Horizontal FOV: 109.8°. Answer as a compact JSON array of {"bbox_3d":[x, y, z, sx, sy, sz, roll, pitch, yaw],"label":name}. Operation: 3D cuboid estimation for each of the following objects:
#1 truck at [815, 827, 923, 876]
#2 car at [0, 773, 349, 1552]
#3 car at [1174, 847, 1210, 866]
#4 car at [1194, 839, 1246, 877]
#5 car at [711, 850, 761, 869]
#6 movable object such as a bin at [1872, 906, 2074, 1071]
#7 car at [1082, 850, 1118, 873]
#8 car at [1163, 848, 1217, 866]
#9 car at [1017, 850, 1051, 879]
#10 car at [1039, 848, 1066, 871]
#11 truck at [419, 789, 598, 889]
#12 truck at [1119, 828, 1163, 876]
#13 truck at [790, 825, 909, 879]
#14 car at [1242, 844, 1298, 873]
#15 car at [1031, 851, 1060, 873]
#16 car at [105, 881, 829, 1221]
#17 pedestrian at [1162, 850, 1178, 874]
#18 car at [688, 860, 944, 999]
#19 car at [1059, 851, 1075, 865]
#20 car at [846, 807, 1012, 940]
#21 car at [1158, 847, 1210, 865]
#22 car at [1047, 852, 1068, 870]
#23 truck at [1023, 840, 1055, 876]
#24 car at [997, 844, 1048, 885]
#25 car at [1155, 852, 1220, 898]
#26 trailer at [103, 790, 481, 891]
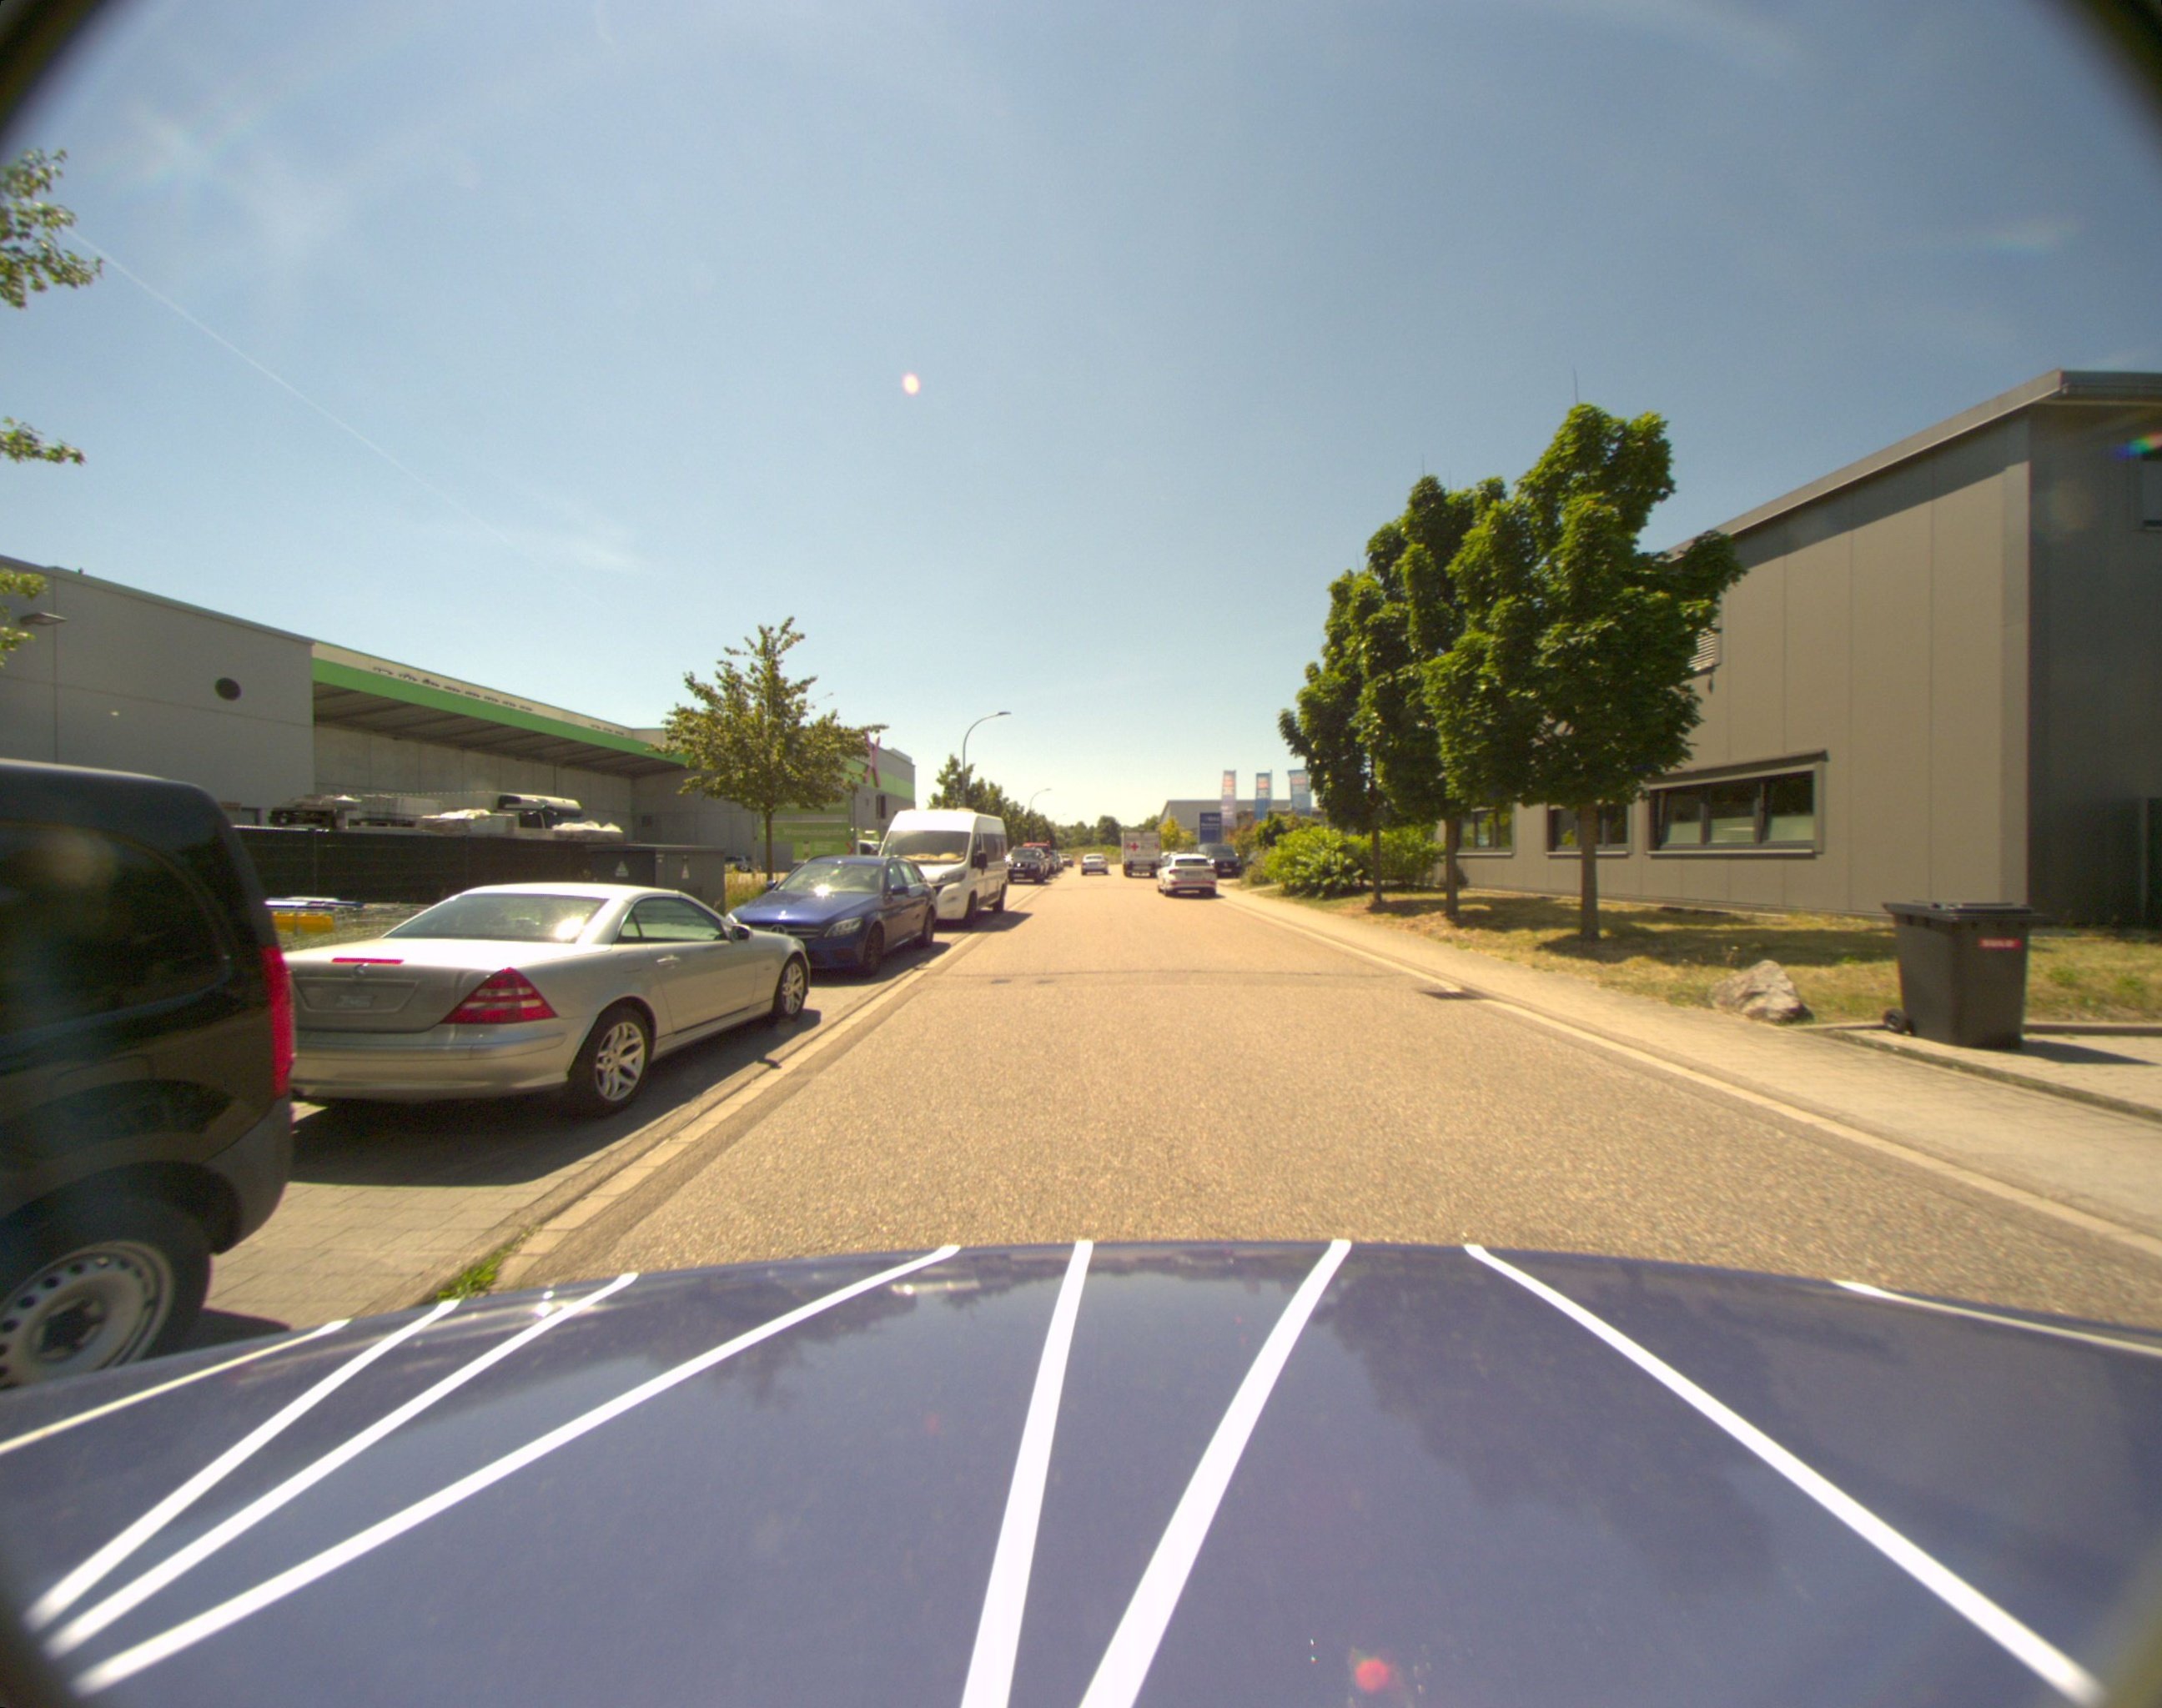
[{"bbox_3d":[-12.789,-0.161,46.183,5.918,2.855,2.305,0,1,-2],"label":"truck"},{"bbox_3d":[-3.530,0.736,0.412,1.998,1.815,4.353,0,1,0],"label":"car"},{"bbox_3d":[8.992,0.200,61.766,2.748,1.509,1.535,-1,1,0],"label":"car"},{"bbox_3d":[7.732,0.183,42.662,1.998,1.945,5.217,-1,1,1],"label":"car"},{"bbox_3d":[-28.591,0.426,63.002,3.395,1.524,1.550,0,1,3],"label":"car"},{"bbox_3d":[6.548,0.952,5.619,0.580,1.059,0.765,-2,1,1],"label":"movable object such as a bin"},{"bbox_3d":[1.374,0.487,52.517,1.786,1.414,4.417,1,1,11],"label":"car"},{"bbox_3d":[9.090,0.241,63.797,4.319,1.423,1.847,-1,1,2],"label":"car"},{"bbox_3d":[-2.719,0.588,44.718,1.743,1.522,3.999,2,1,-1],"label":"car"},{"bbox_3d":[-2.237,0.410,60.403,1.815,1.715,4.774,1,0,1],"label":"car"},{"bbox_3d":[-23.156,-0.611,30.973,5.075,3.853,2.803,0,2,1],"label":"truck"},{"bbox_3d":[3.766,-0.163,48.781,2.367,2.843,6.415,2,1,1],"label":"truck"},{"bbox_3d":[-12.724,-0.128,42.046,5.836,2.896,2.414,0,1,0],"label":"truck"},{"bbox_3d":[10.377,0.213,42.020,1.936,1.408,4.769,-2,1,1],"label":"car"},{"bbox_3d":[-2.510,0.543,54.689,1.702,1.375,4.837,2,1,1],"label":"car"},{"bbox_3d":[-3.444,0.955,5.464,1.715,1.280,4.115,0,1,3],"label":"car"},{"bbox_3d":[5.850,0.514,50.009,0.901,1.565,0.785,-2,1,2],"label":"pedestrian"},{"bbox_3d":[-3.357,0.855,10.668,1.833,1.485,4.478,0,0,3],"label":"car"},{"bbox_3d":[-1.676,0.503,94.144,1.809,1.626,4.458,1,0,1],"label":"car"},{"bbox_3d":[-3.148,0.333,17.366,2.273,2.483,6.152,0,1,3],"label":"car"},{"bbox_3d":[8.966,0.172,66.546,4.273,1.509,1.866,-1,1,0],"label":"car"},{"bbox_3d":[-2.087,0.545,65.965,1.718,1.474,4.772,1,0,-2],"label":"car"},{"bbox_3d":[-2.669,0.234,49.195,1.683,2.169,4.389,2,1,1],"label":"truck"},{"bbox_3d":[-2.804,0.456,37.795,1.998,1.874,5.155,1,1,1],"label":"car"},{"bbox_3d":[3.740,0.687,27.280,1.734,1.450,4.491,-1,1,1],"label":"car"},{"bbox_3d":[-32.020,-0.548,31.163,12.649,3.853,2.803,0,2,1],"label":"trailer"}]
